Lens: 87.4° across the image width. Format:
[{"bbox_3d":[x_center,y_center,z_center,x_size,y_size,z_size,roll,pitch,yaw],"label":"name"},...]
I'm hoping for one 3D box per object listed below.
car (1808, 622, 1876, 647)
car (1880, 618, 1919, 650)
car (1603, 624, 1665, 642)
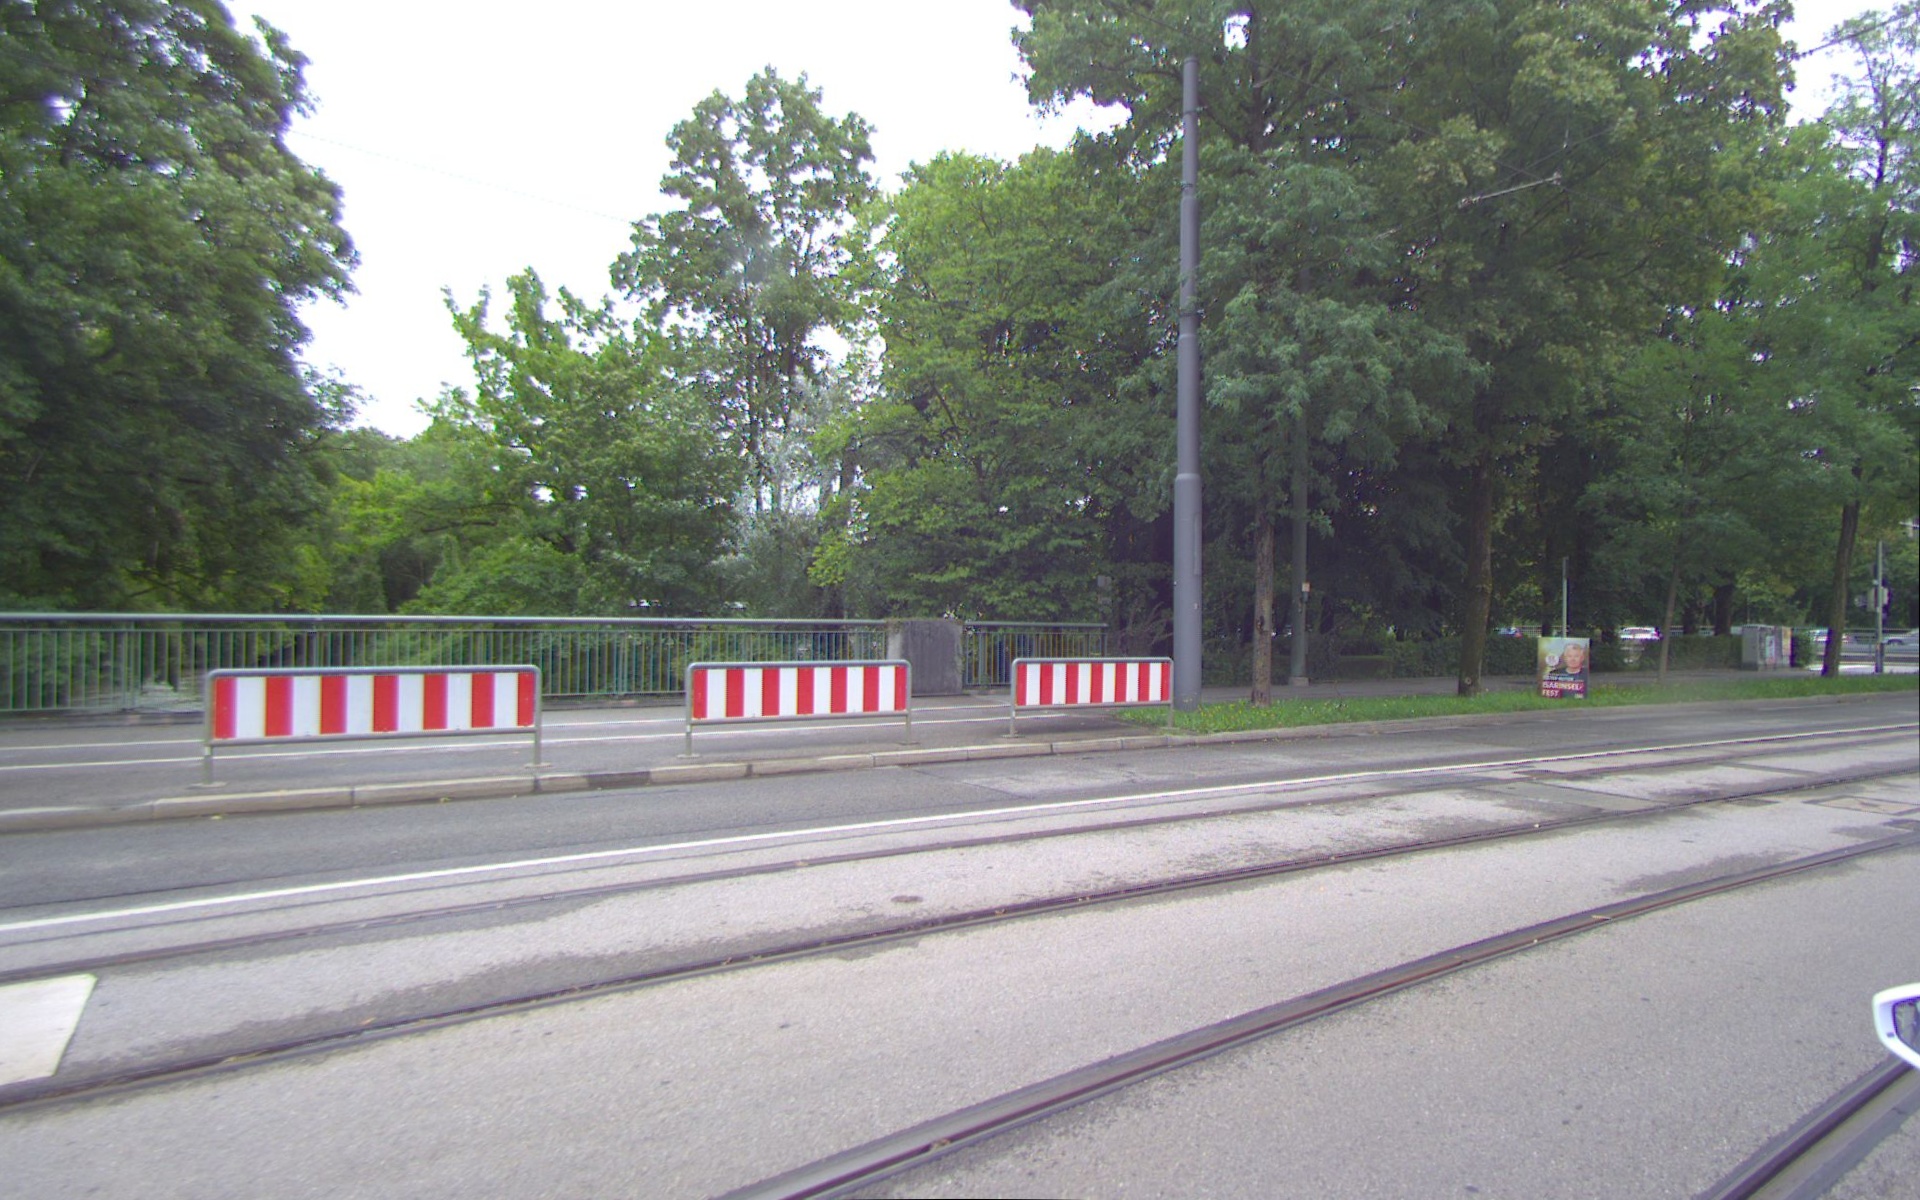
[{"bbox_3d":[57.123,2.248,65.109,1.237,1.471,3.091,1,0,-33],"label":"car"},{"bbox_3d":[59.360,2.114,61.666,1.475,1.912,3.996,1,0,-34],"label":"car"},{"bbox_3d":[50.589,2.486,75.470,1.237,1.201,3.706,1,0,-33],"label":"car"}]
